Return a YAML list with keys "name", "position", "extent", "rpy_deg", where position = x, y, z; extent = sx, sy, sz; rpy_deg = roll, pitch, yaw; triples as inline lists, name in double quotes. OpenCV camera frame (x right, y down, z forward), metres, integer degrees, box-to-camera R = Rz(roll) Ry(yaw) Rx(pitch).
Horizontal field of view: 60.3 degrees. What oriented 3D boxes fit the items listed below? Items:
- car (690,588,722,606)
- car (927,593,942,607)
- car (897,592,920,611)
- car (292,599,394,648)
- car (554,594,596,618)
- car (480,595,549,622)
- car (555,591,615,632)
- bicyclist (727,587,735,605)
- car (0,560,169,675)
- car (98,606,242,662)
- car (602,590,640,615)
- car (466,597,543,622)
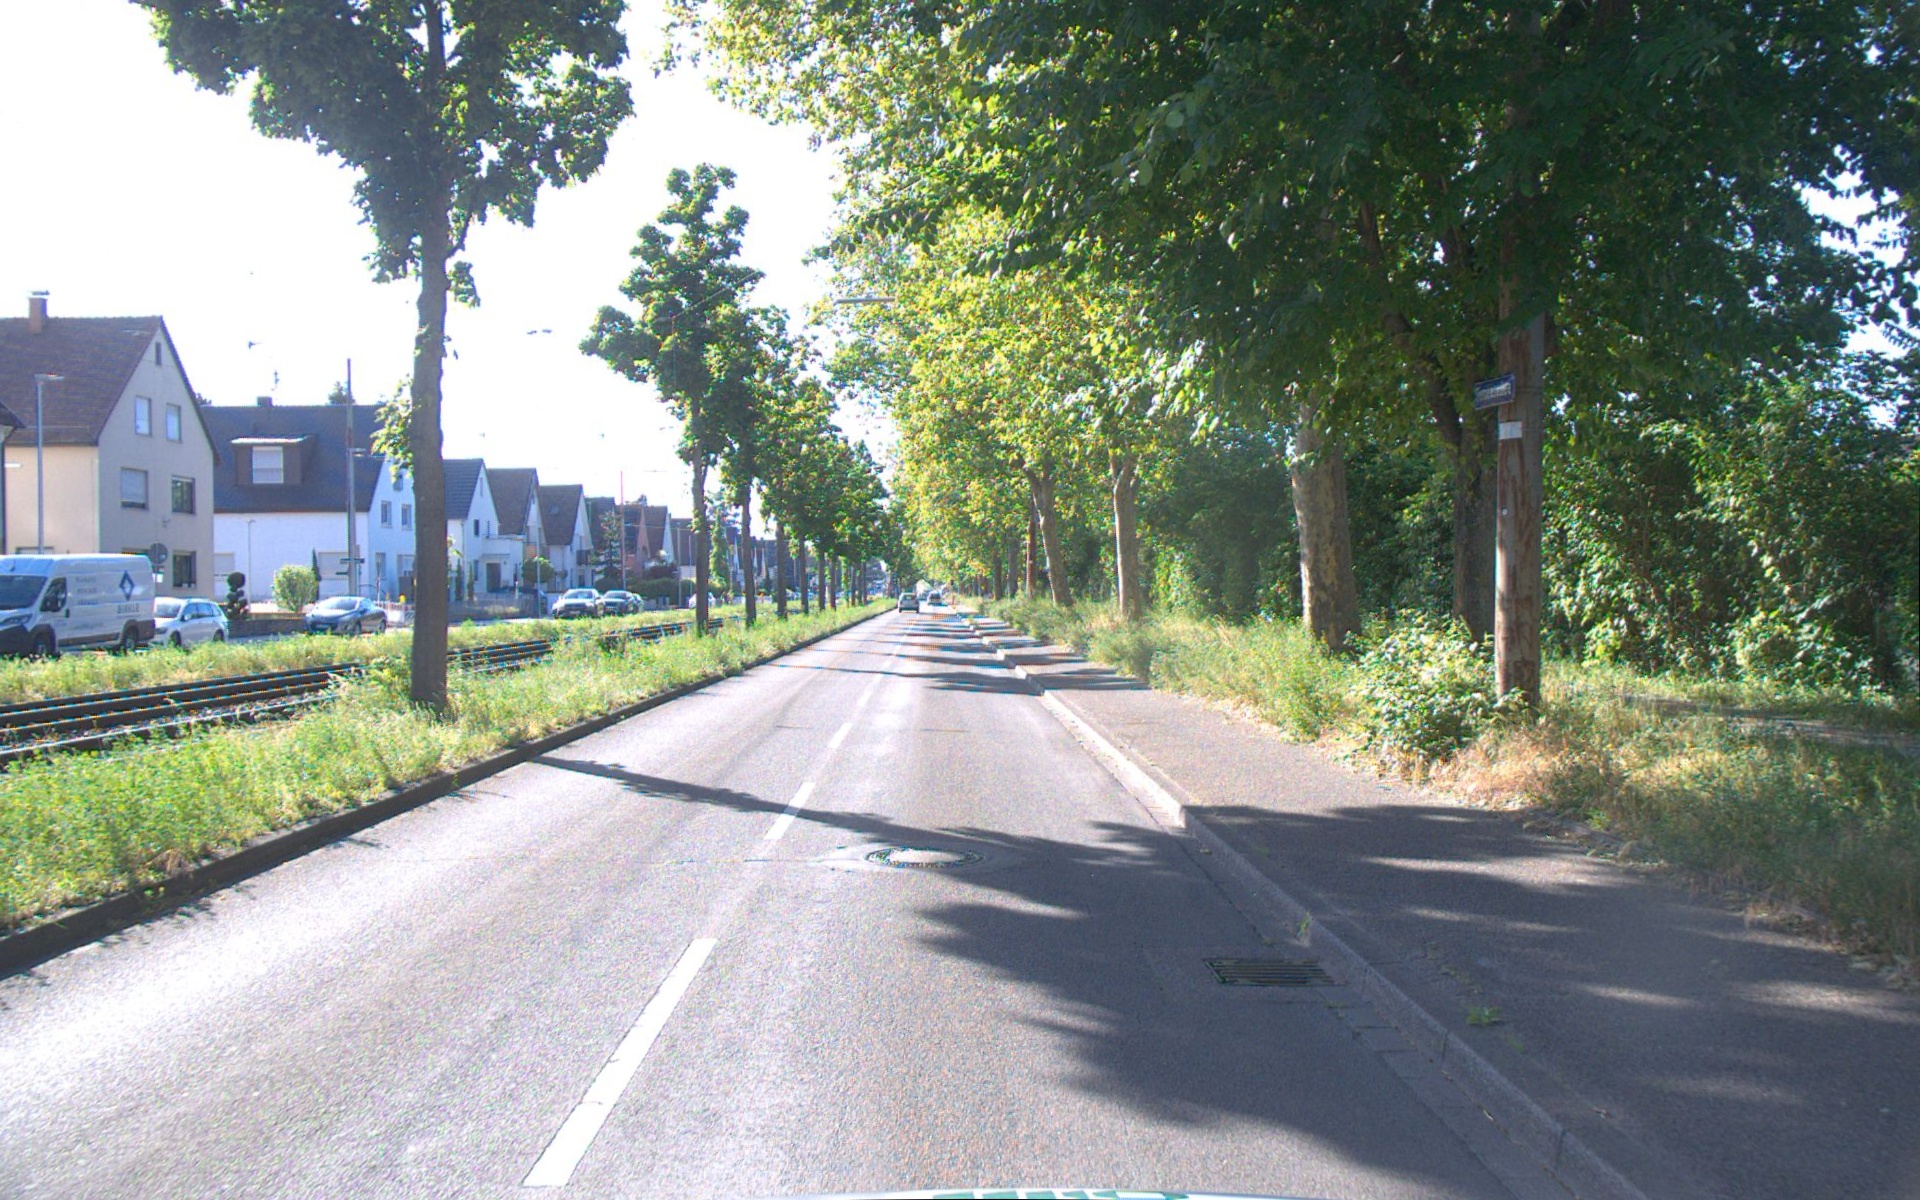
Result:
- name: "car"
  position: [-23.421, -0.280, 152.649]
  extent: [1.952, 1.627, 4.733]
  rpy_deg: [0, 0, 2]
- name: "car"
  position: [-2.933, -0.015, 192.635]
  extent: [1.725, 1.539, 3.276]
  rpy_deg: [0, 0, 0]
- name: "car"
  position: [-3.949, 0.128, 126.916]
  extent: [1.703, 1.425, 3.276]
  rpy_deg: [0, 0, -1]
- name: "car"
  position: [-21.851, 0.793, 58.749]
  extent: [1.953, 1.609, 4.498]
  rpy_deg: [0, 1, 0]
- name: "car"
  position: [-22.468, 0.362, 96.701]
  extent: [1.463, 1.349, 4.000]
  rpy_deg: [0, 0, 0]
- name: "car"
  position: [-28.106, 0.529, 104.418]
  extent: [3.909, 1.699, 1.998]
  rpy_deg: [0, 0, -5]
- name: "car"
  position: [-18.165, 0.535, 80.377]
  extent: [1.876, 1.916, 4.523]
  rpy_deg: [0, 0, 0]
- name: "bicyclist"
  position: [-21.168, -0.390, 152.976]
  extent: [0.674, 1.681, 0.881]
  rpy_deg: [0, 0, -1]
- name: "car"
  position: [-21.377, 0.388, 39.443]
  extent: [1.953, 2.502, 6.673]
  rpy_deg: [0, 0, -1]
- name: "car"
  position: [-21.451, 0.896, 45.138]
  extent: [1.787, 1.437, 4.656]
  rpy_deg: [0, 0, -1]
- name: "car"
  position: [-22.344, 0.148, 109.099]
  extent: [1.610, 1.595, 4.386]
  rpy_deg: [0, 0, 0]
- name: "car"
  position: [-27.508, 0.562, 99.968]
  extent: [4.130, 1.489, 1.936]
  rpy_deg: [0, 0, -5]
